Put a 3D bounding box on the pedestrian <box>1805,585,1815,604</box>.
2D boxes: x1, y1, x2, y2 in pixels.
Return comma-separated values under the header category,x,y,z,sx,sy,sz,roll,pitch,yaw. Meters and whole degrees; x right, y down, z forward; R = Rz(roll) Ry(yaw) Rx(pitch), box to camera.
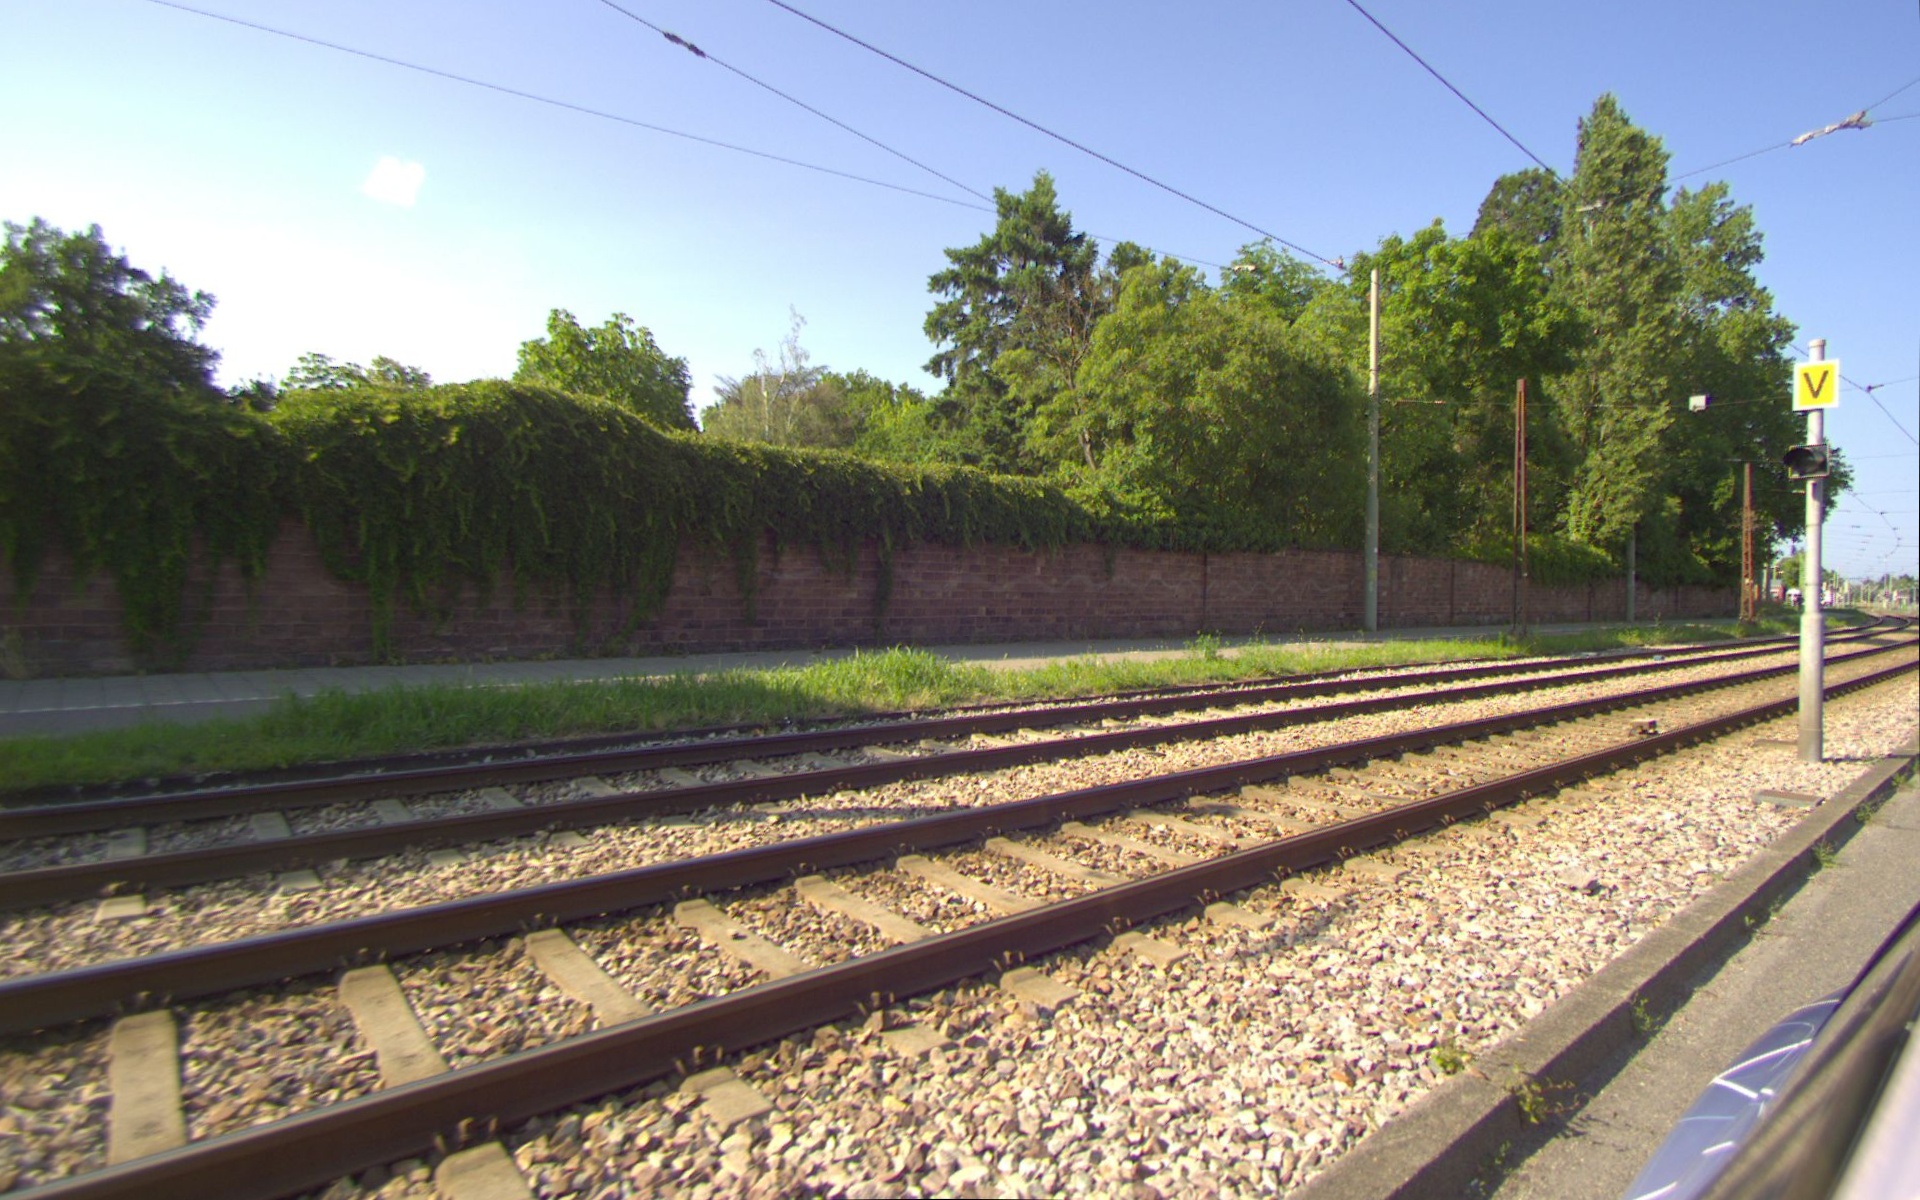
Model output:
category,x,y,z,sx,sy,sz,roll,pitch,yaw
pedestrian,79.245,-0.531,94.342,0.869,1.737,0.501,1,1,-40
